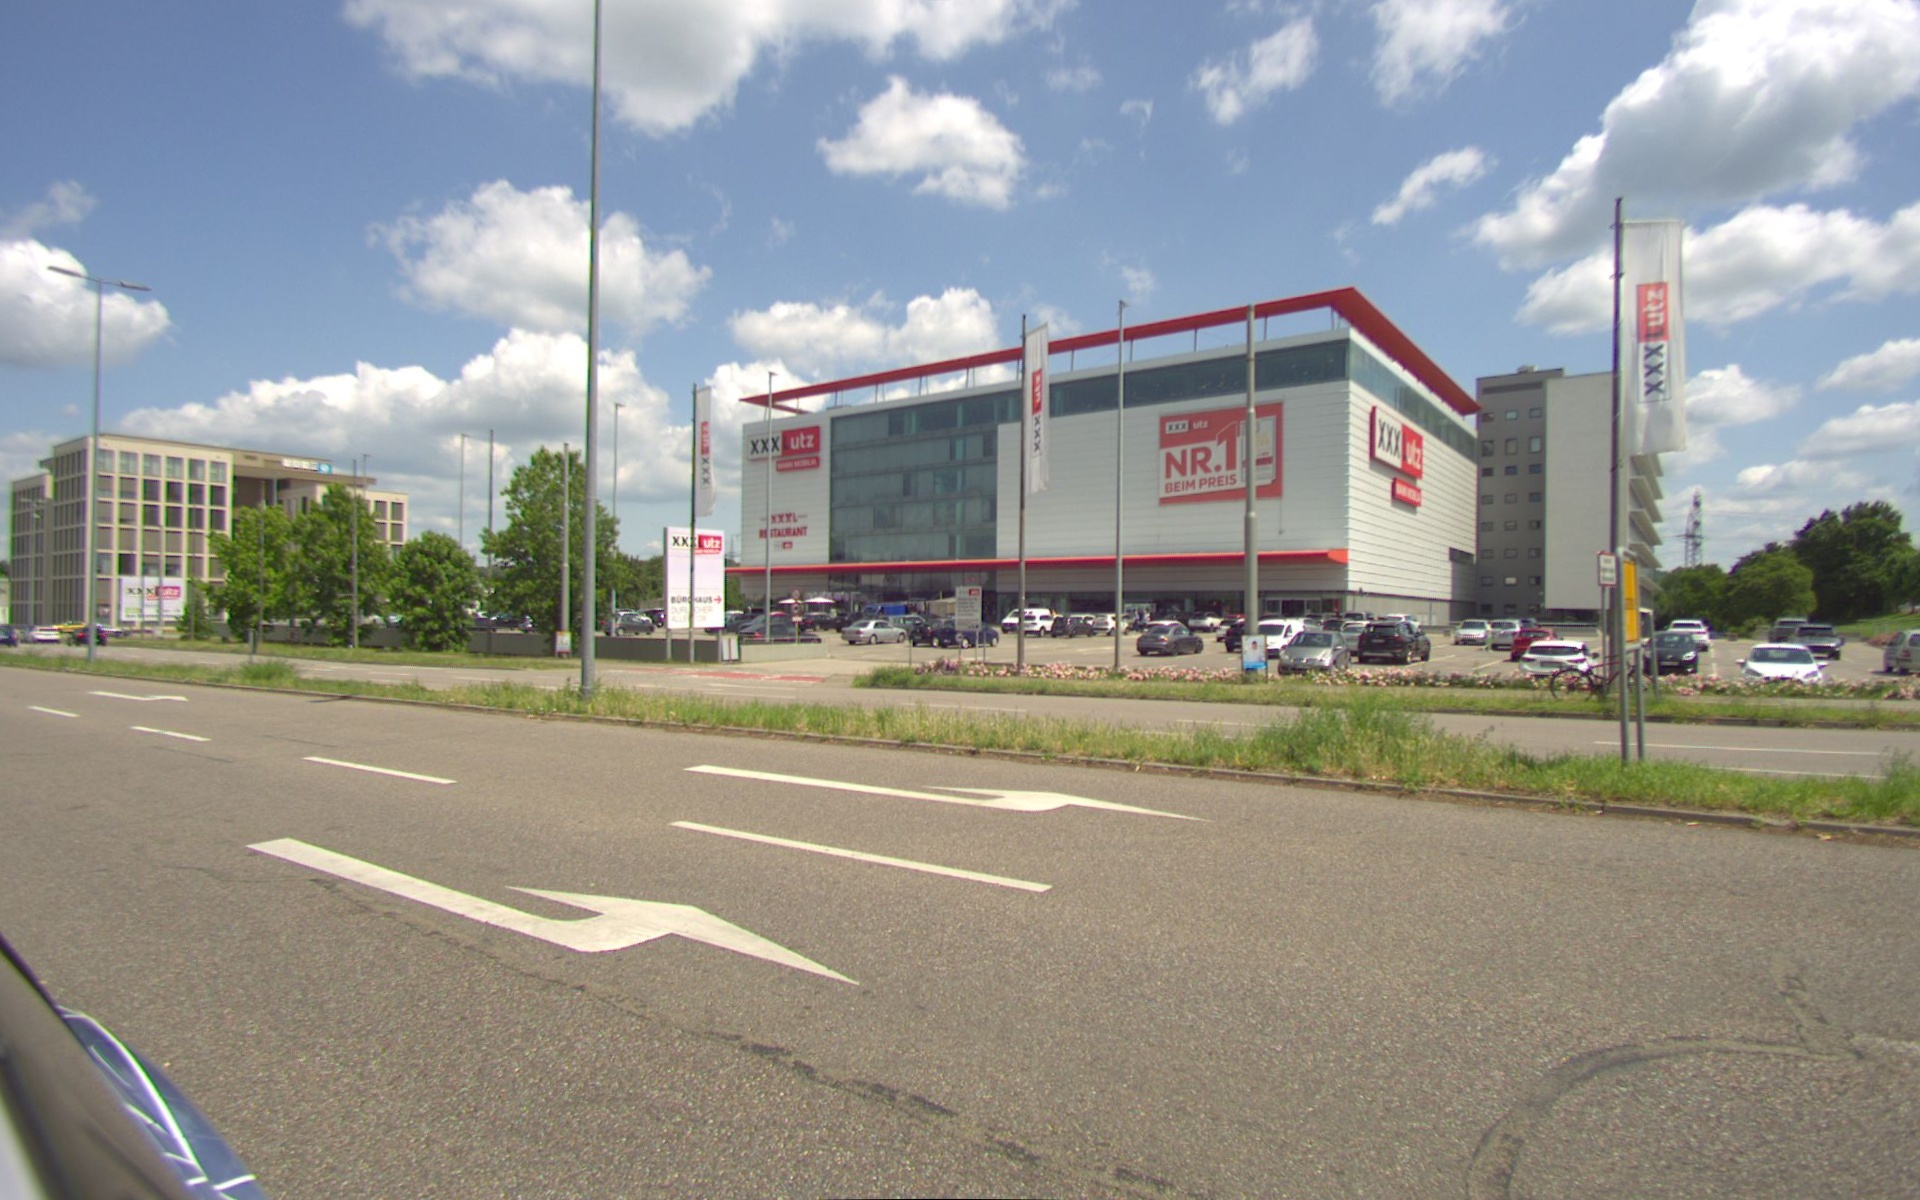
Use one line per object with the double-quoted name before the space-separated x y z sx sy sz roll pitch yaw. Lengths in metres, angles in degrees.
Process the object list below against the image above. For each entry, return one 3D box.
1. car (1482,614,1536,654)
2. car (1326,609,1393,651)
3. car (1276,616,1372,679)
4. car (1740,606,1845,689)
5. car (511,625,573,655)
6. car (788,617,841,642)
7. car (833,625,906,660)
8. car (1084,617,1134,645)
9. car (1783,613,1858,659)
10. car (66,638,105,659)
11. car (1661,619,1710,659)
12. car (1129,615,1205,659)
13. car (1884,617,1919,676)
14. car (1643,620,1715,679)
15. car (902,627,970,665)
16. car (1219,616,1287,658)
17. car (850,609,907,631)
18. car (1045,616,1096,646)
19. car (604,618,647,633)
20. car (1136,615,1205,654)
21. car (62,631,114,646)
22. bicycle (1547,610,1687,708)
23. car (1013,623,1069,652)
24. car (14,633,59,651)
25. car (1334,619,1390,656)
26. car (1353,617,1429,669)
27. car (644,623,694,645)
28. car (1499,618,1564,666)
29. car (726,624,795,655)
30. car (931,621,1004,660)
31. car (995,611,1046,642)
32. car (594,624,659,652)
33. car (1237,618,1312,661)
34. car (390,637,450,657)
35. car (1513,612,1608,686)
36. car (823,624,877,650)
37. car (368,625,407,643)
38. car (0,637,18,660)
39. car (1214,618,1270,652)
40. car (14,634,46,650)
"car" 29.099 1.784 53.574 1.995 2.004 4.572 -1 -2 35
"car" 19.097 1.437 48.268 1.996 1.896 4.309 -1 -2 36
"car" 12.591 1.597 34.891 1.996 2.004 4.309 -1 -2 36
"car" 22.078 1.218 26.982 1.997 2.029 3.949 -1 -2 38
"car" -34.359 3.261 83.328 1.996 2.347 4.309 -1 -2 36
"car" -12.204 2.472 84.916 1.996 2.004 4.309 -1 -2 36
"car" -5.369 2.503 60.484 1.996 2.004 4.309 -1 -2 36
"car" 10.873 2.245 73.633 1.996 2.029 3.951 -2 -2 36
"car" 39.351 1.635 46.398 2.245 2.004 4.309 -1 -2 36
"car" -65.461 3.606 75.729 4.114 1.481 1.602 -2 -3 41
"car" 38.088 2.033 53.153 1.996 2.004 4.309 -1 -2 36
"car" 10.020 1.761 48.683 1.996 2.004 4.309 -1 -2 36
"car" 34.683 1.645 36.114 1.996 2.004 4.309 -1 -2 36
"car" 25.987 1.738 36.594 1.996 2.004 4.309 -1 -2 36
"car" -1.350 2.567 57.978 1.839 2.004 4.036 -1 -1 35
"car" 14.786 1.845 50.952 1.996 2.004 4.309 -1 -2 36
"car" -7.056 1.793 88.211 2.194 1.792 5.072 -2 -3 35
"car" 7.649 2.138 69.757 1.774 2.029 3.951 -2 -2 36
"car" -33.550 2.552 101.632 1.679 1.481 3.783 -2 -3 38
"car" 11.349 1.836 54.409 1.996 2.004 4.309 1 -1 36
"car" -95.140 4.203 110.450 3.931 1.704 1.864 1 -3 -28
"bicycle" 11.966 1.060 18.469 2.045 1.688 1.008 -2 -3 37
"car" 5.741 2.607 71.148 1.996 2.004 4.309 -1 -2 36
"car" -77.660 3.541 85.102 4.342 1.484 1.607 -2 -3 31
"car" 22.903 2.135 57.596 1.996 2.004 4.036 -1 -2 36
"car" 18.180 1.745 42.570 1.996 2.004 4.541 0 0 36
"car" -27.840 3.262 96.782 1.996 2.004 4.309 -1 -2 36
"car" 24.936 1.806 44.333 1.988 2.004 5.265 -1 -2 24
"car" -13.263 2.635 67.473 1.996 2.004 4.309 -1 -2 36
"car" 0.459 2.227 56.364 1.996 2.004 4.310 -1 -1 36
"car" 4.730 2.097 78.833 1.866 2.324 4.515 -1 -2 36
"car" -24.962 2.844 75.917 1.996 2.004 4.309 -3 -3 36
"car" 14.427 1.771 46.272 1.996 1.853 4.309 -1 -2 36
"car" -44.709 3.852 83.835 1.848 1.608 3.947 -2 -3 39
"car" 17.788 1.394 29.890 1.996 2.004 4.309 -1 -2 36
"car" -8.878 2.997 81.923 1.996 2.004 4.309 -1 -2 36
"car" -61.091 3.614 107.996 4.665 1.847 1.833 -2 -3 36
"car" -65.460 3.275 68.646 3.671 1.486 1.722 0 -2 38
"car" 17.527 2.157 62.873 1.996 2.004 4.309 -1 -2 36
"car" -82.761 3.722 90.055 4.580 1.402 1.602 -3 -3 41
